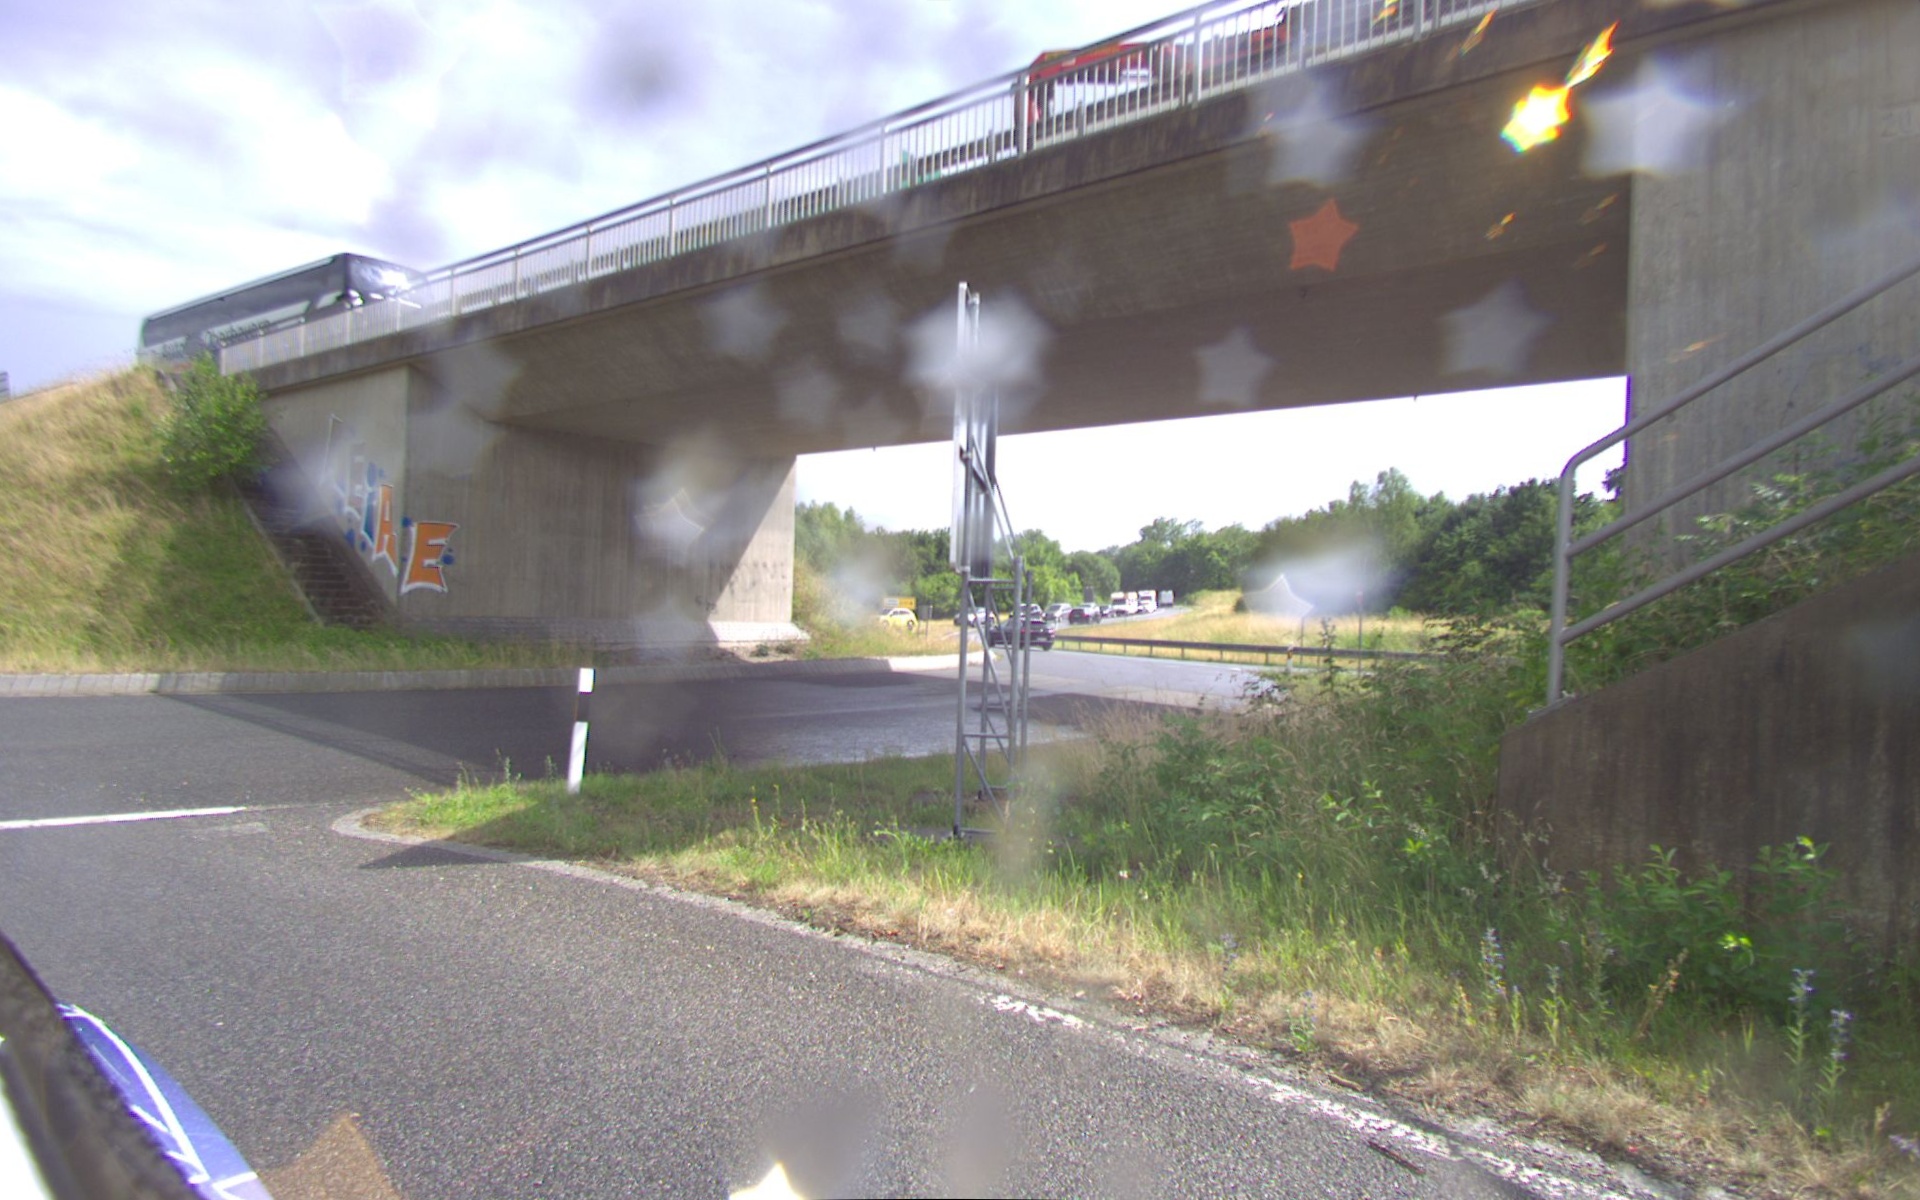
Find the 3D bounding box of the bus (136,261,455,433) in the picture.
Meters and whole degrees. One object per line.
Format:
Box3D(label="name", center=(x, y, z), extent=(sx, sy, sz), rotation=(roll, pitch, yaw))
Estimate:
Box3D(label="bus", center=(-20.683, -7.269, 30.791), extent=(14.422, 3.102, 2.584), rotation=(2, 1, 33))
